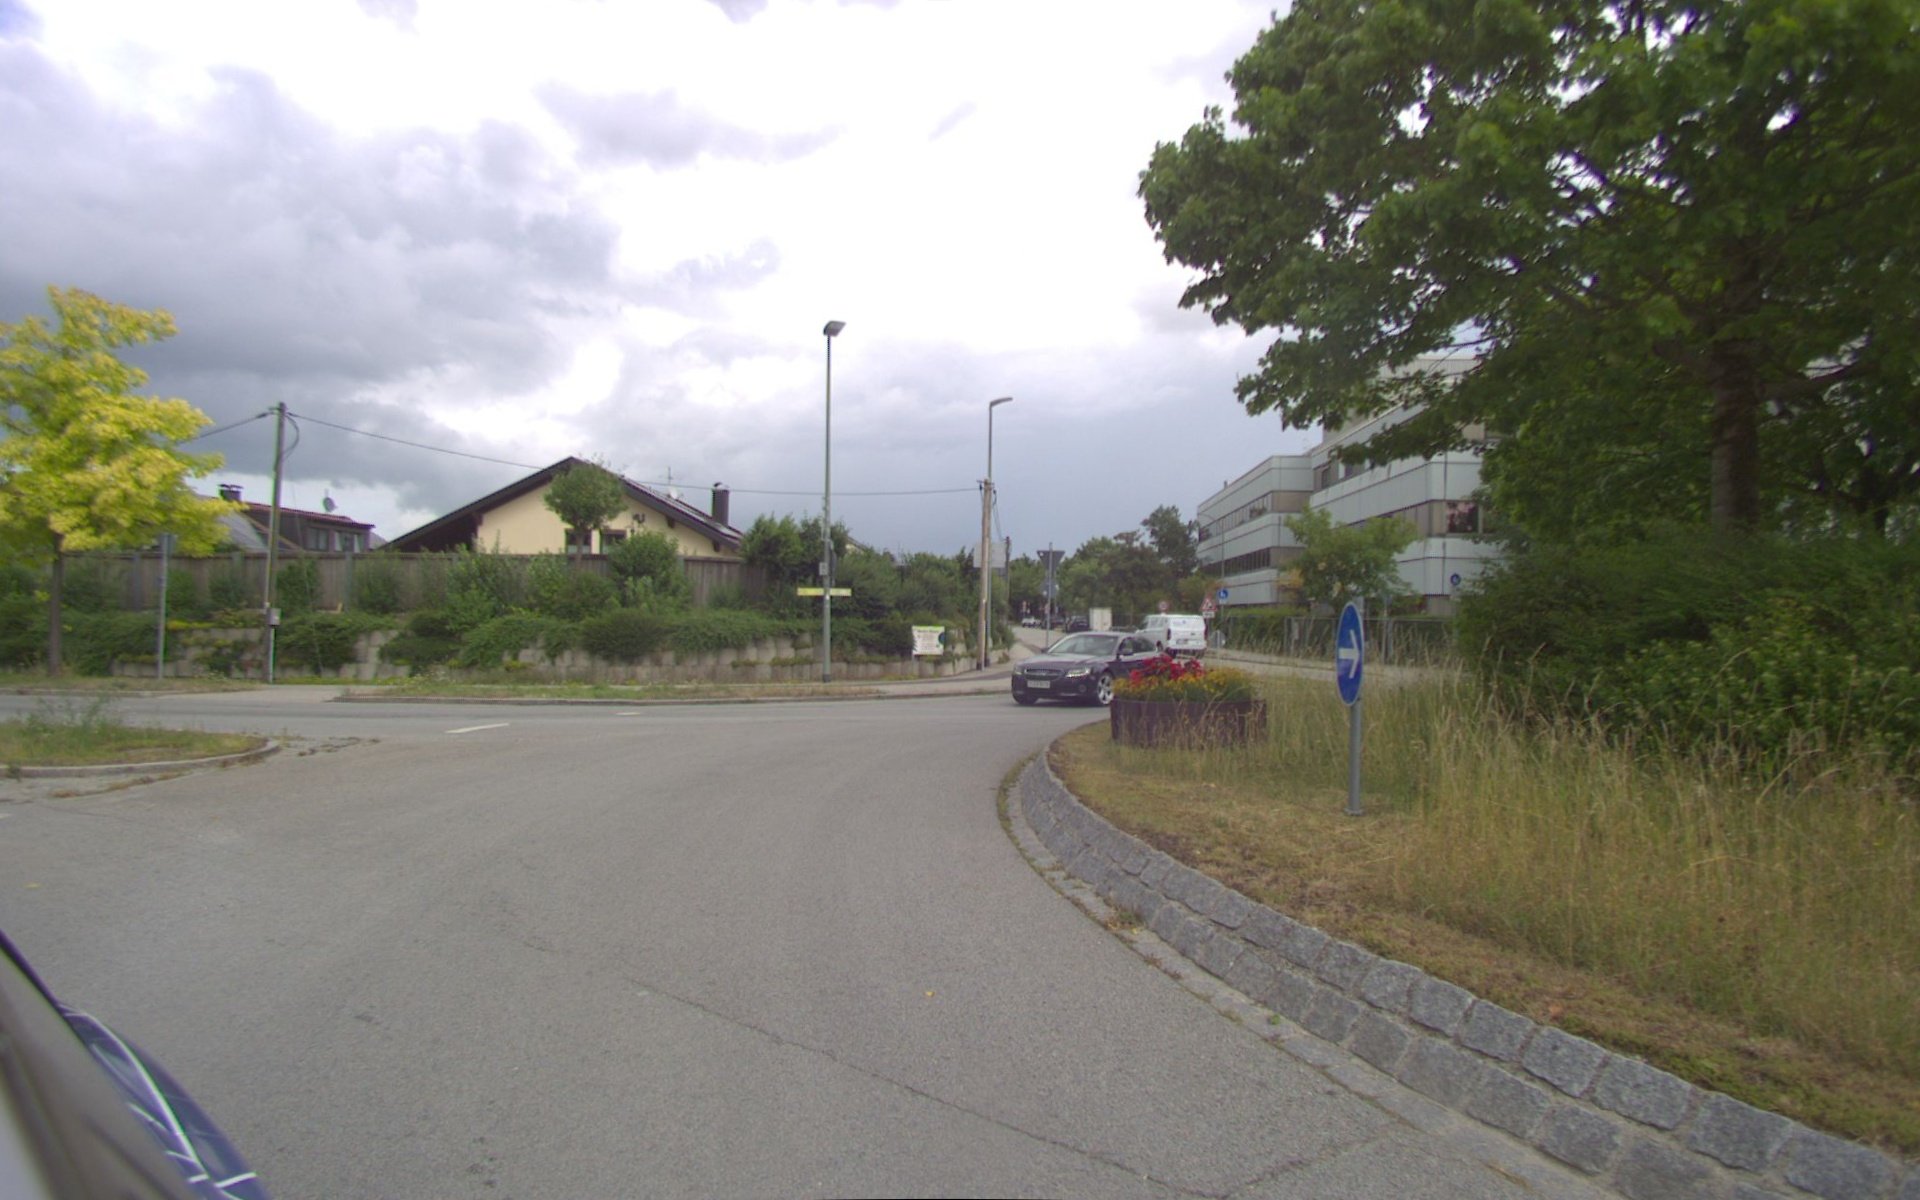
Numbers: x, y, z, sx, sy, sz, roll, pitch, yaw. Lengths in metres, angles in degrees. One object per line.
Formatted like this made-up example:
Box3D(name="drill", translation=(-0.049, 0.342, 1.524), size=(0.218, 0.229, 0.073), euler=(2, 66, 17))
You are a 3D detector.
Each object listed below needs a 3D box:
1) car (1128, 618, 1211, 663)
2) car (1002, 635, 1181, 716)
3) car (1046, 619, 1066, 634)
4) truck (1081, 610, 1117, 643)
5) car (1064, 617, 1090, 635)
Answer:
Box3D(name="car", translation=(9.474, 1.829, 46.261), size=(1.968, 1.920, 5.082), euler=(1, -2, -10))
Box3D(name="car", translation=(2.690, 1.382, 19.761), size=(1.928, 1.357, 4.424), euler=(-1, -2, 30))
Box3D(name="car", translation=(10.687, 2.910, 112.684), size=(1.890, 1.663, 3.997), euler=(1, -1, 2))
Box3D(name="truck", translation=(11.035, 2.099, 80.796), size=(2.259, 2.518, 5.280), euler=(1, -1, 2))
Box3D(name="car", translation=(10.824, 2.391, 93.796), size=(1.973, 1.663, 3.997), euler=(1, -1, 2))
